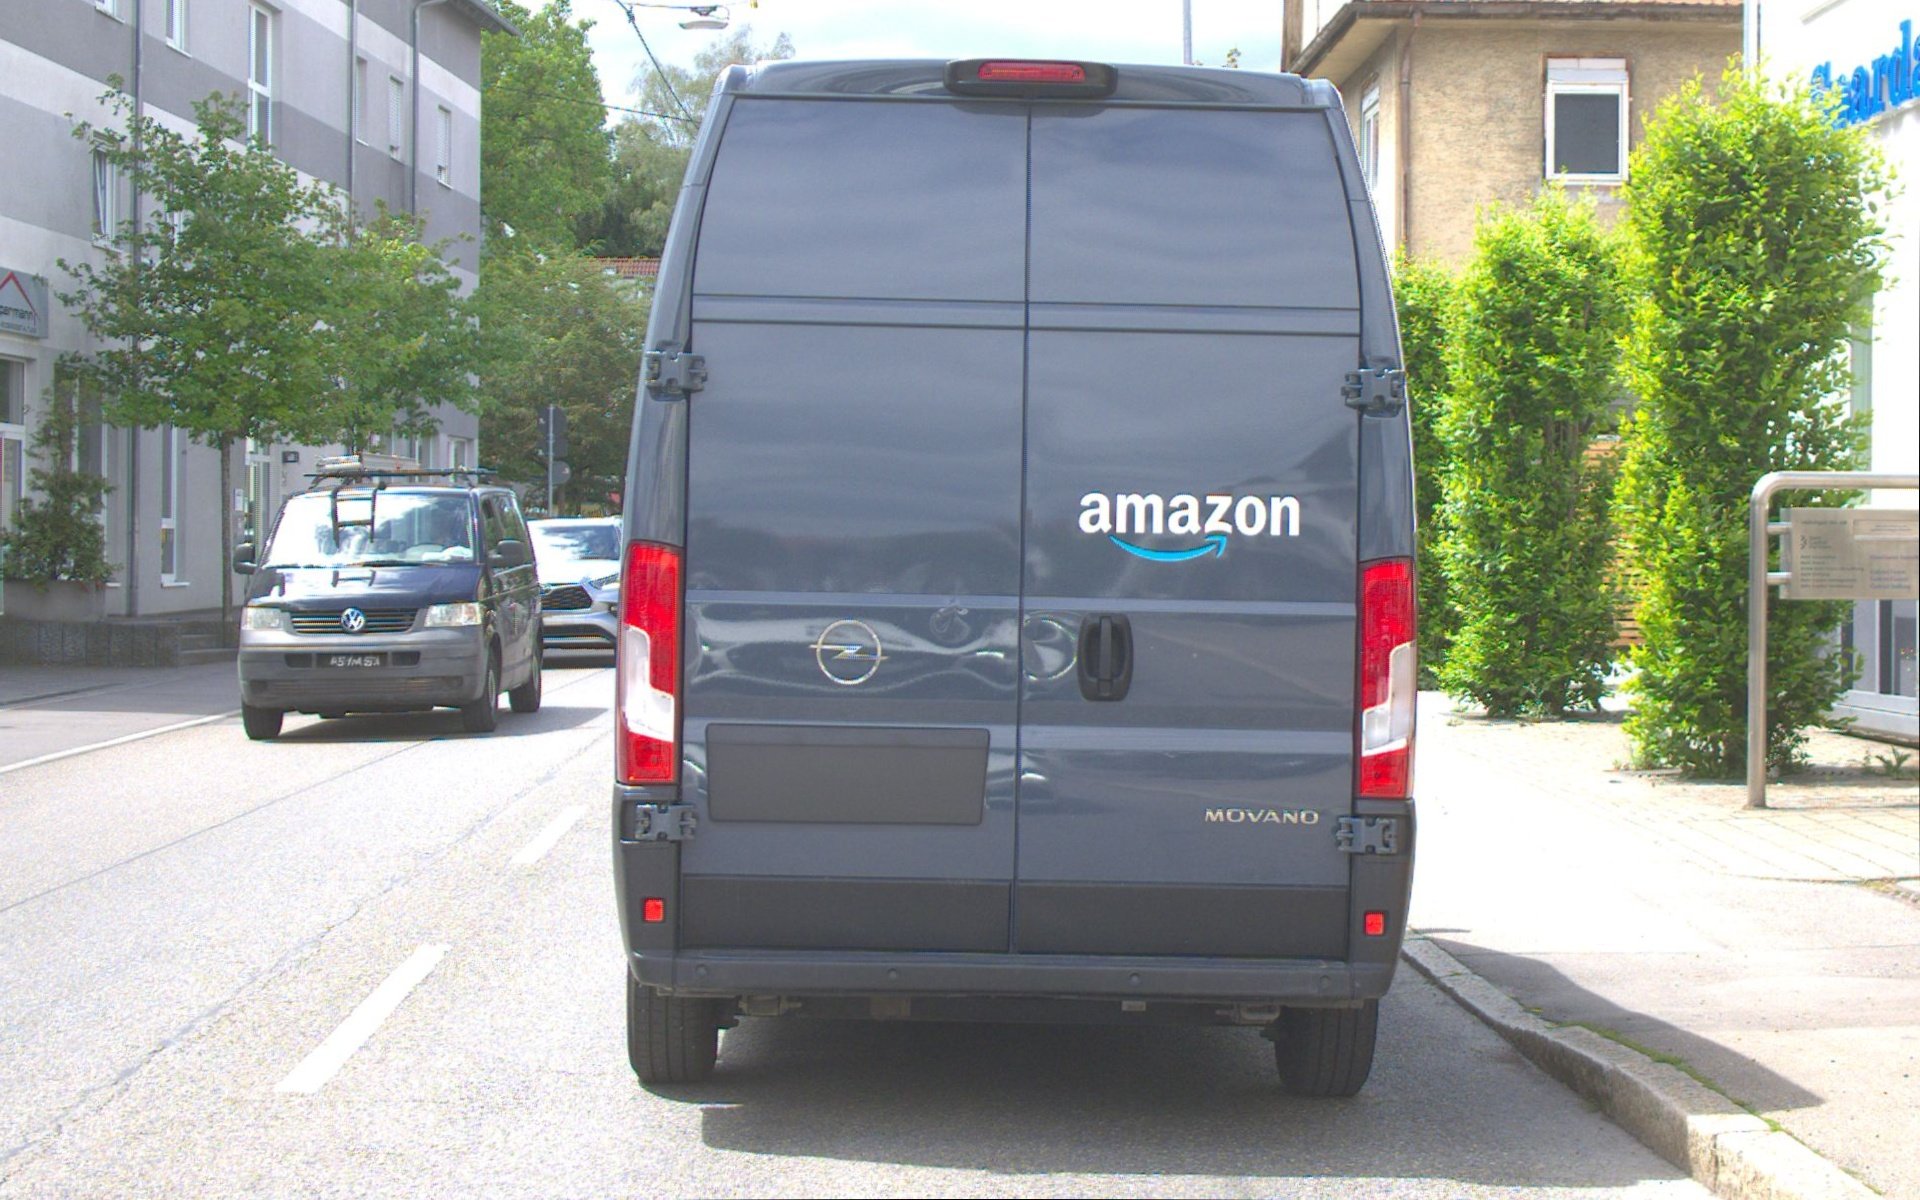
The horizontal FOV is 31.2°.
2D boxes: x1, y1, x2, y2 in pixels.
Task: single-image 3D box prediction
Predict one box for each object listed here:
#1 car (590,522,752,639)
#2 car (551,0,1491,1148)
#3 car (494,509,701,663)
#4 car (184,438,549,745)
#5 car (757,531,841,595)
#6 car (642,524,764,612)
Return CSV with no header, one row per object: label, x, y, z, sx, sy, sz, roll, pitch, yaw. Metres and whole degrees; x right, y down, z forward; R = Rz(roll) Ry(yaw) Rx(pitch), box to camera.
car,-4.097,-0.314,49.464,2.105,1.590,4.650,0,1,-2
car,0.095,-0.125,11.060,2.252,2.786,5.570,0,1,-1
car,-4.202,-0.199,40.522,2.105,1.704,4.766,0,1,-2
car,-4.482,-0.107,26.702,2.105,2.114,4.766,-2,1,-2
car,-4.101,-0.968,88.174,2.105,1.590,4.650,0,1,-2
car,-4.791,-0.623,64.594,2.105,1.590,4.650,0,1,-2
